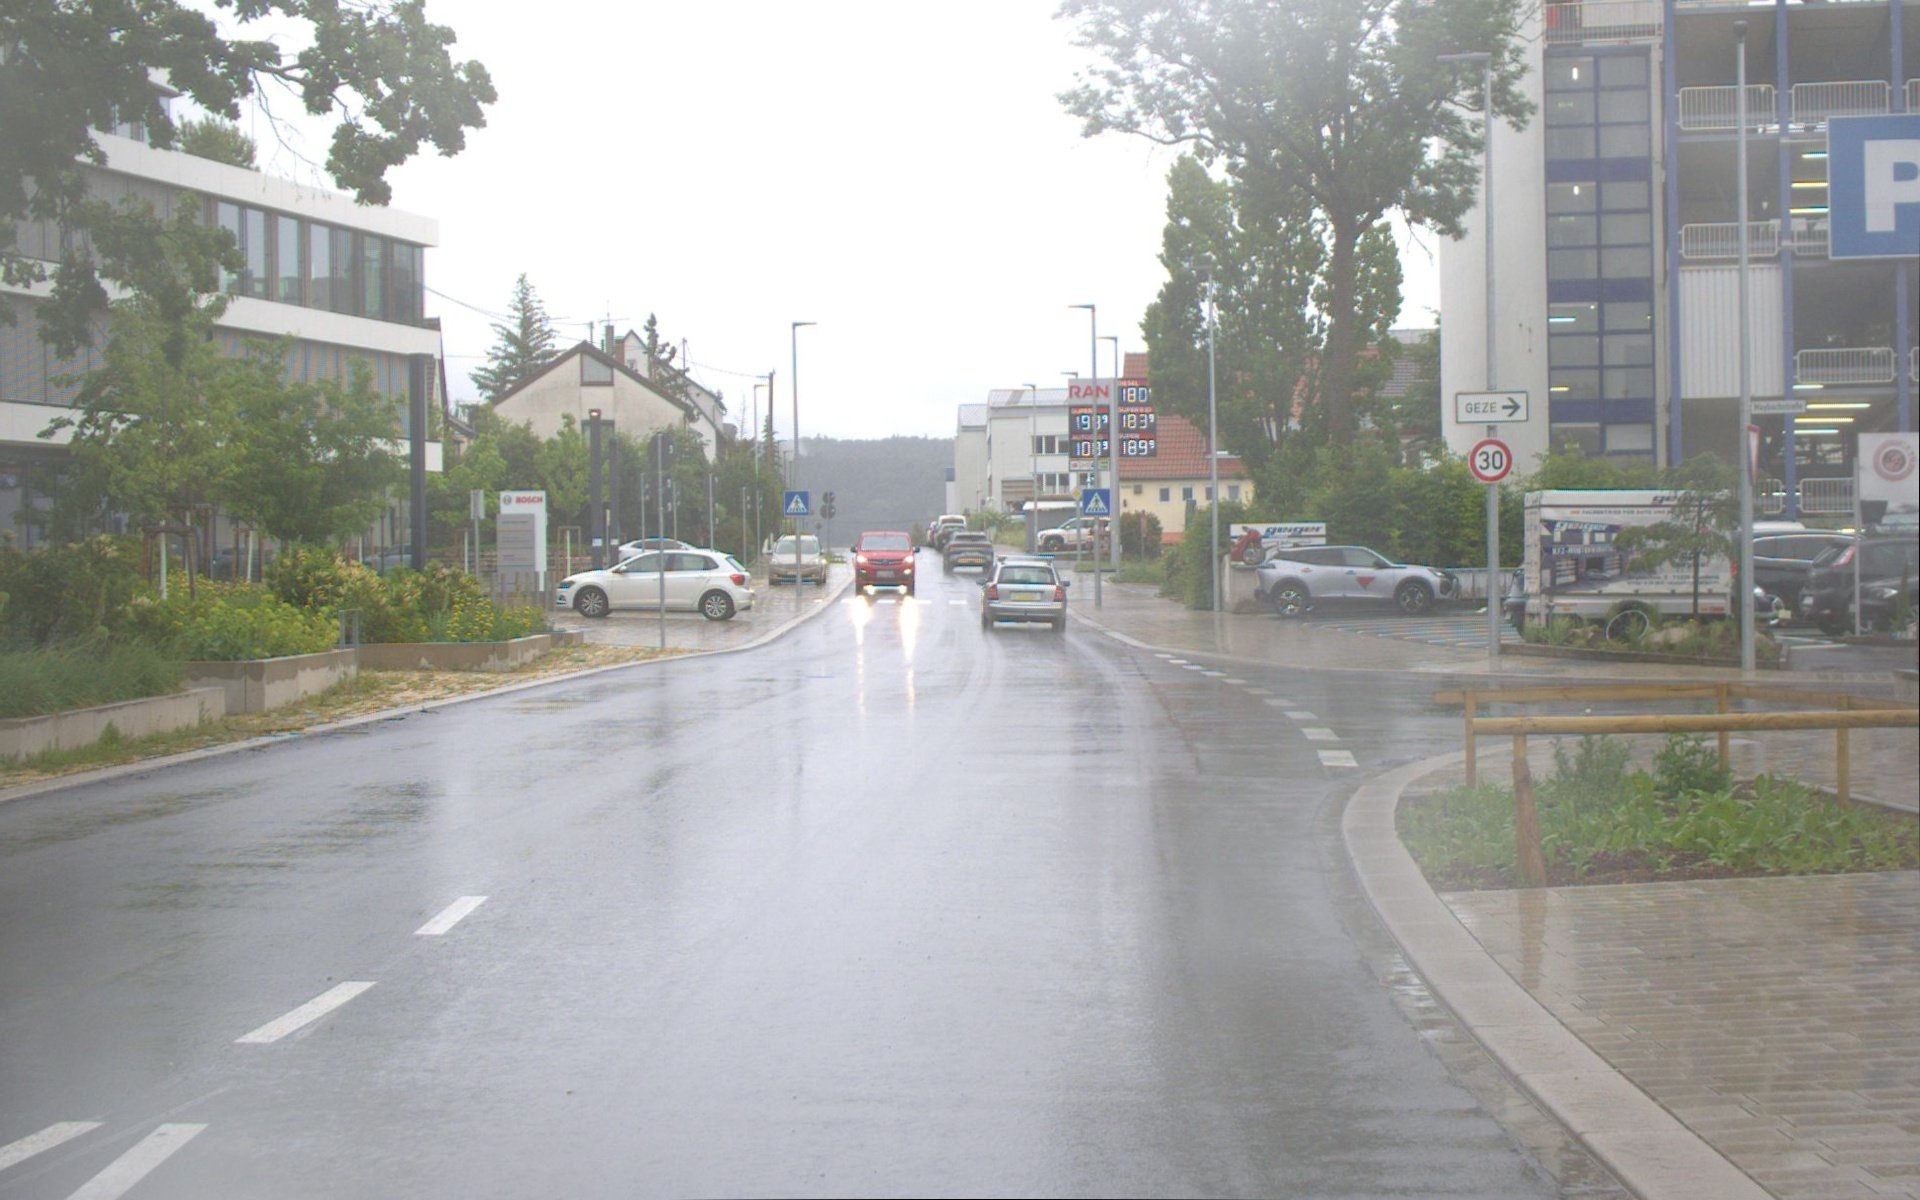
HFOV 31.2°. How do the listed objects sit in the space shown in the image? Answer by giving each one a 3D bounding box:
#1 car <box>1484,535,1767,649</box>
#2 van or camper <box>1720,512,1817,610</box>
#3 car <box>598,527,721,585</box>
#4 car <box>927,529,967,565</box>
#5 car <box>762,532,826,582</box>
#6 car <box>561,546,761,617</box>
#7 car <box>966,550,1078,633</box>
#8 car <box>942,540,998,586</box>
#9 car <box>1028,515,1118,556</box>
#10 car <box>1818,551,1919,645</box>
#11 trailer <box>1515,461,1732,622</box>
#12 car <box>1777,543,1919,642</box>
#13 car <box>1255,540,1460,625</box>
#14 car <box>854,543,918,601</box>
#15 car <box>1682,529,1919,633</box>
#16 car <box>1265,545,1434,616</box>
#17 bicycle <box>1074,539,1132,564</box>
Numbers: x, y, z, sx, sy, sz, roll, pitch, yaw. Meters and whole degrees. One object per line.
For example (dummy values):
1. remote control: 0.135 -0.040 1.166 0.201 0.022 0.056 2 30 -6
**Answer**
1. car: 9.611 -0.107 49.811 3.725 1.524 1.650 -2 0 0
2. van or camper: 17.329 -0.836 73.847 1.838 2.029 4.459 0 1 11
3. car: -12.072 -1.773 137.933 4.752 2.007 2.000 3 -1 -6
4. car: -0.703 -2.772 181.211 1.993 1.700 4.000 3 -1 -1
5. car: -5.567 -1.453 115.679 1.993 1.623 4.153 -1 1 -1
6. car: -6.131 -0.393 70.754 3.927 1.418 1.898 0 1 0
7. car: 1.256 -0.146 71.117 1.948 1.550 4.000 3 -1 -3
8. car: 0.386 -1.495 140.239 2.154 1.700 4.000 3 -1 -1
9. car: 5.419 -3.109 165.434 4.112 1.700 1.789 3 -1 -3
10. car: 14.407 -0.054 49.307 3.725 1.311 1.693 -1 1 -4
11. trailer: 9.091 -0.795 47.230 2.702 2.164 1.548 0 1 2
12. car: 14.377 -0.129 51.690 3.725 1.444 1.731 -1 1 -4
13. car: 8.514 -0.384 73.542 4.209 1.644 1.999 -2 0 10
14. car: -2.387 -0.912 109.896 2.003 1.811 4.980 0 1 -1
15. car: 14.268 -0.324 56.545 4.354 1.646 1.845 -1 1 -2
16. car: 8.656 -0.438 76.316 3.622 1.489 1.806 -1 1 9
17. bicycle: 6.602 -2.248 158.832 0.668 1.063 3.629 4 -1 -32
